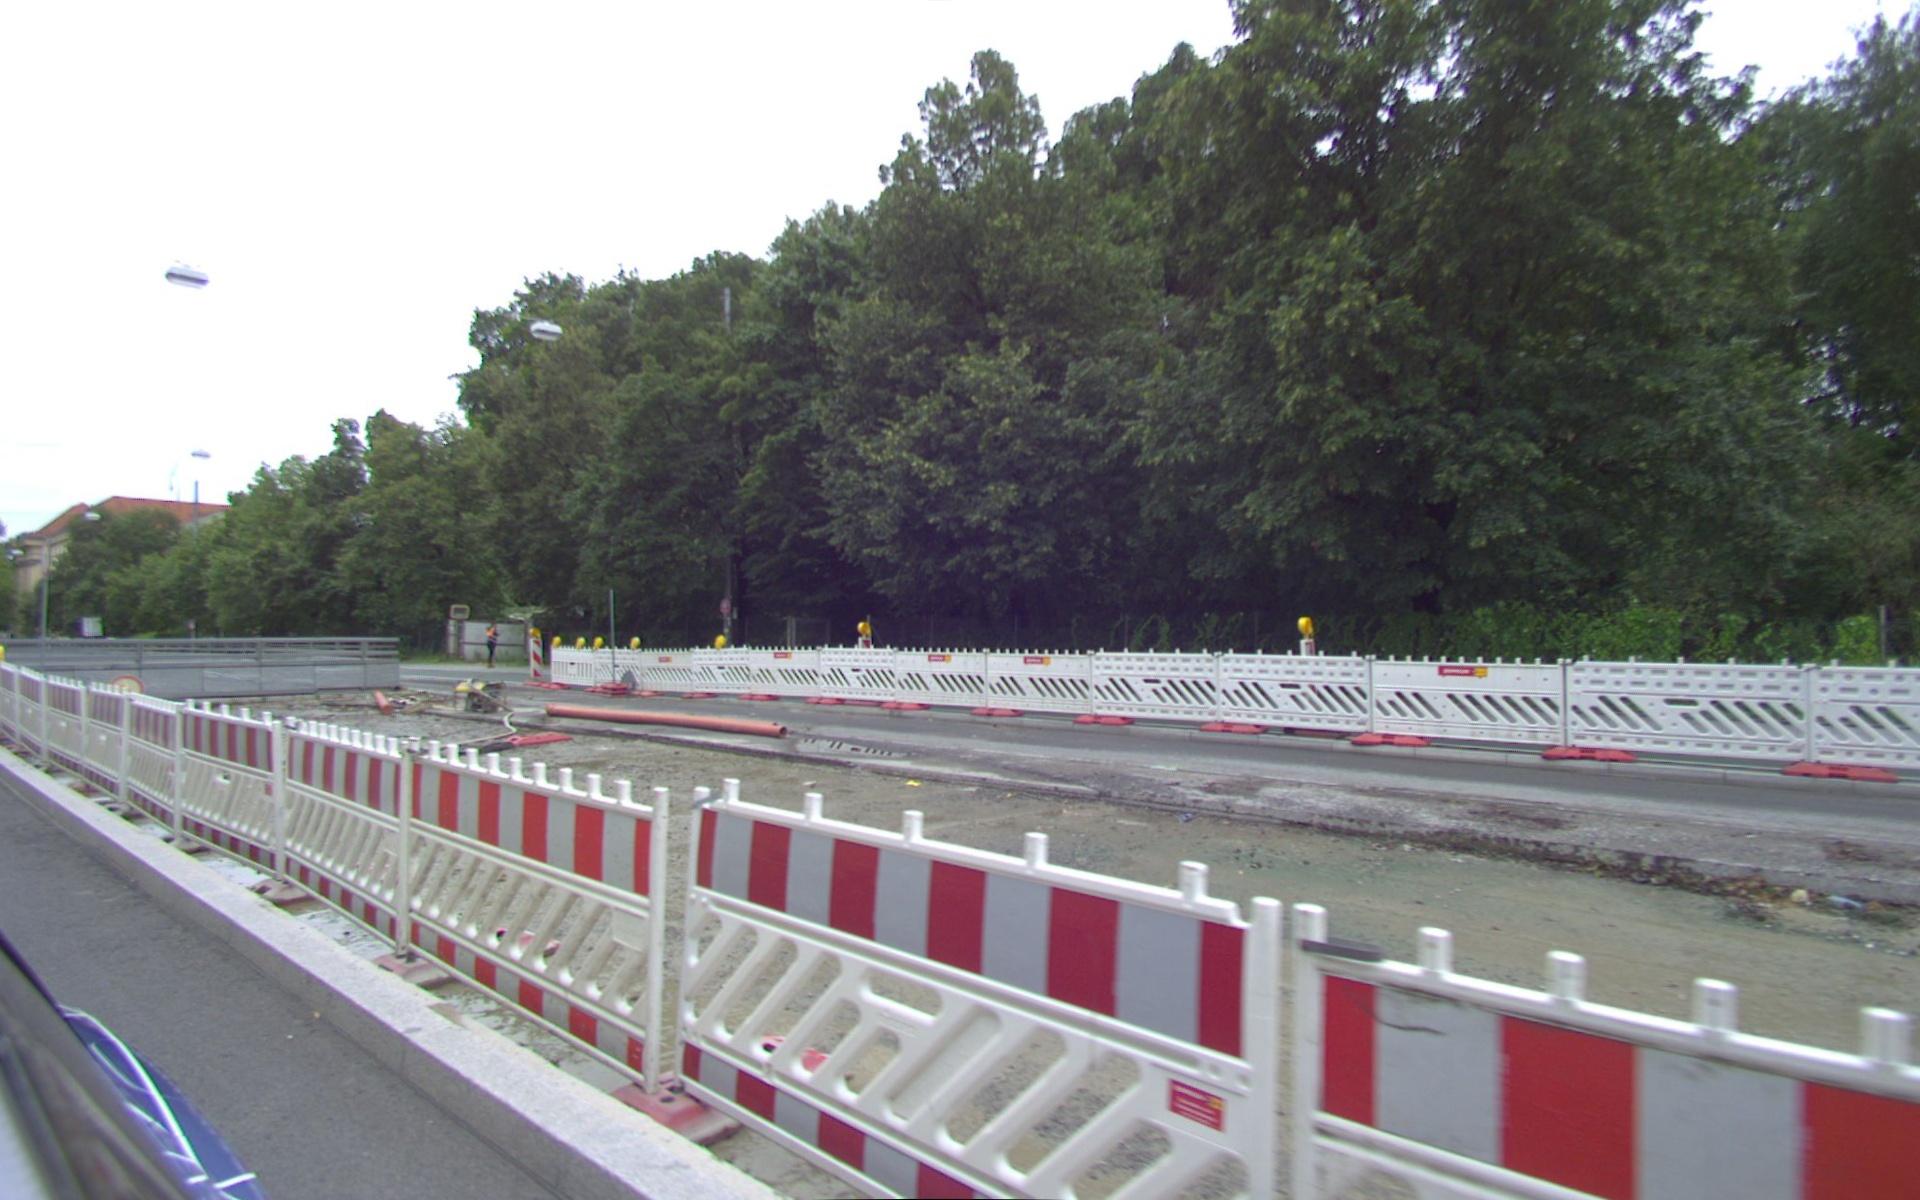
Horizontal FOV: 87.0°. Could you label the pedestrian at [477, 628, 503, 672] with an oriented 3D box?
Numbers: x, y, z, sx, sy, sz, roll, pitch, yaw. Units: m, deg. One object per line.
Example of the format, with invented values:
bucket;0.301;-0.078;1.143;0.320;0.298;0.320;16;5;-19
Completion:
pedestrian;-17.822;1.885;38.363;0.698;1.653;0.656;-2;-2;41
